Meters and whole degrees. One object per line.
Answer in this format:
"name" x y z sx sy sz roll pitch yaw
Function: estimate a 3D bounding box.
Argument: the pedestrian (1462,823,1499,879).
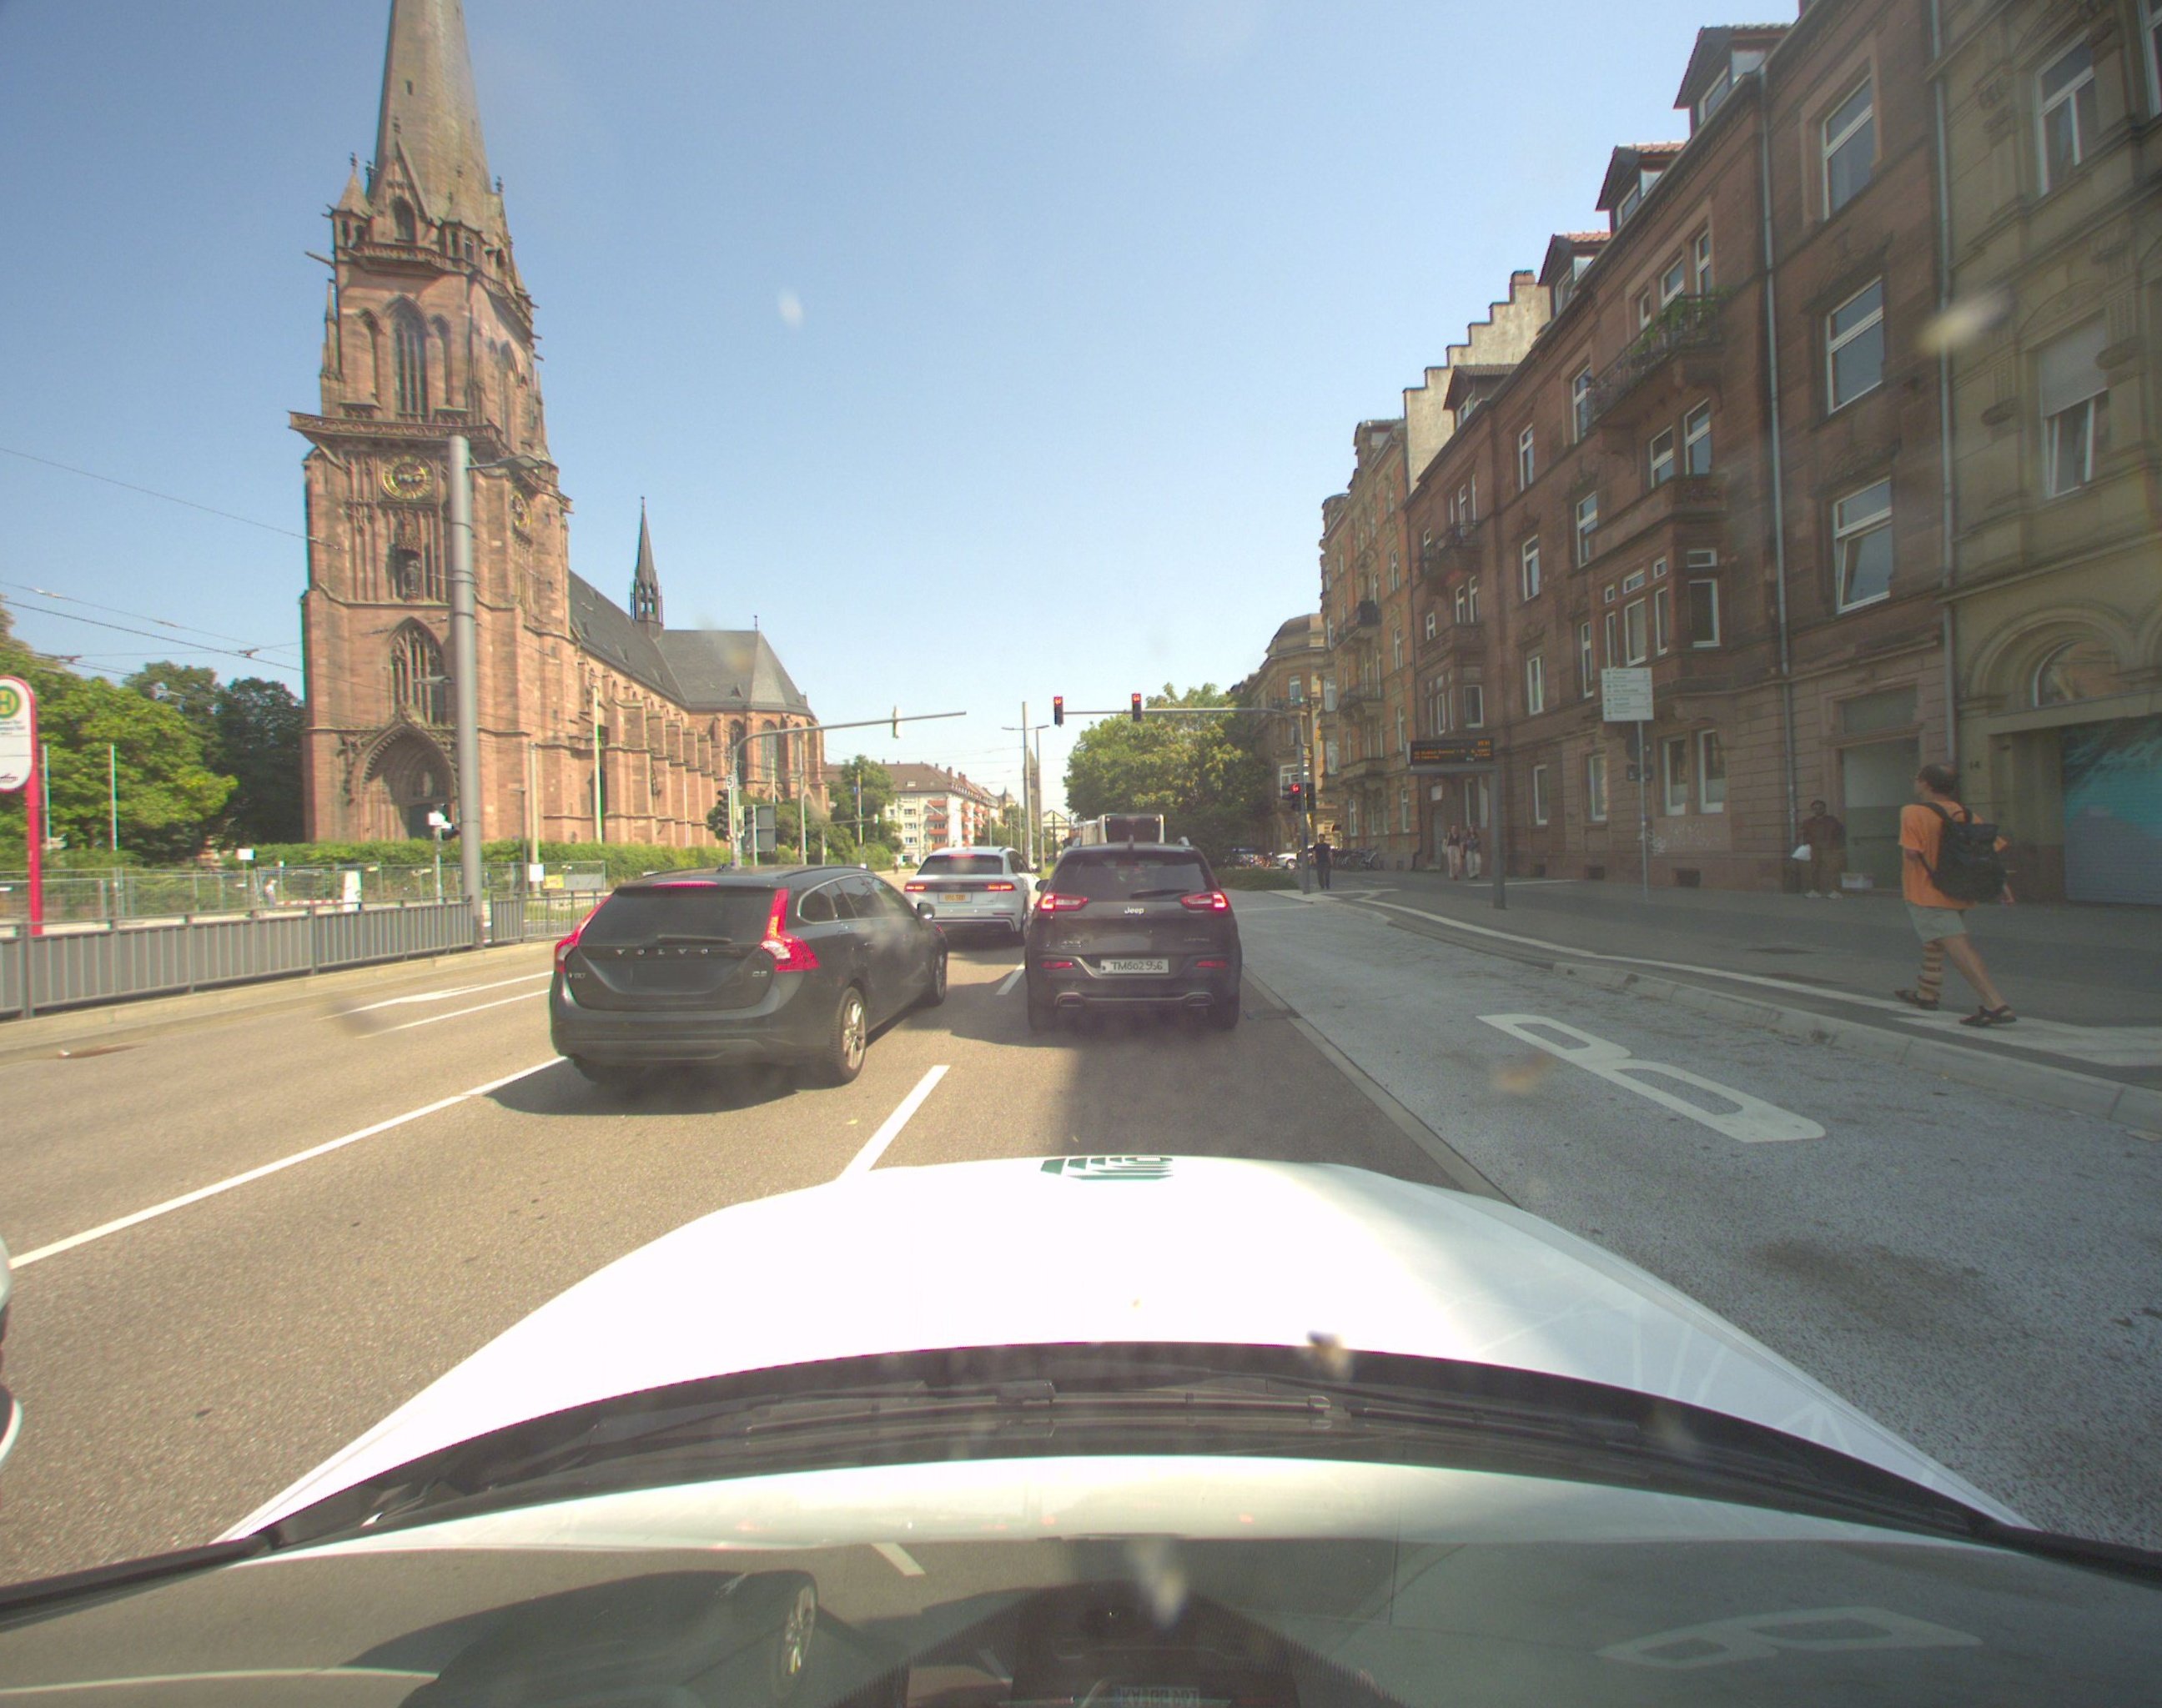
"pedestrian" 12.987 -0.100 26.498 0.712 1.778 0.870 -2 0 0

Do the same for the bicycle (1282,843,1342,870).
"bicycle" 12.731 0.120 44.977 2.993 1.373 0.948 -2 0 1

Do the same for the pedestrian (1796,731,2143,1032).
"pedestrian" 5.731 0.168 5.387 0.958 1.741 1.242 -2 0 8

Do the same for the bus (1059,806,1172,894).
"bus" 1.176 -0.065 36.776 2.742 3.107 11.920 -5 0 -8

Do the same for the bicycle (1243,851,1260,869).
"bicycle" 12.193 0.395 58.313 0.729 1.253 3.017 -2 0 4

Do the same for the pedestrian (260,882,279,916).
"pedestrian" -37.602 2.091 37.732 0.430 1.531 0.548 -3 0 36

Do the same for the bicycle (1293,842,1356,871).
"bicycle" 12.731 0.115 42.648 2.993 1.373 0.948 -2 0 1

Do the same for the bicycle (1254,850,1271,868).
"bicycle" 12.980 0.362 58.309 0.759 1.253 3.017 -2 0 4

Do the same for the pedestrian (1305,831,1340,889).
"pedestrian" 7.601 0.177 25.635 0.892 1.741 0.771 -4 -1 12

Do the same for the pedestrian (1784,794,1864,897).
"pedestrian" 13.270 -0.159 14.554 0.872 1.778 0.737 -2 0 -26

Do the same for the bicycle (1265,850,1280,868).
"bicycle" 13.794 0.329 58.724 0.655 1.249 2.415 -2 0 4

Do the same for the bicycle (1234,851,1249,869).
"bicycle" 11.497 0.421 58.331 0.646 1.253 3.017 -2 0 4

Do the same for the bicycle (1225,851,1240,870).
"bicycle" 10.840 0.451 58.372 0.646 1.253 3.017 -2 0 4

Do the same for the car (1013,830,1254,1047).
"car" 0.515 0.647 8.413 1.825 1.651 4.312 -1 0 3

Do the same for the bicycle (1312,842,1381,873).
"bicycle" 12.608 0.163 38.749 2.983 1.371 0.871 -2 0 1

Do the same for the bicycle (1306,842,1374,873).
"bicycle" 12.599 0.181 39.662 2.983 1.371 0.871 -2 0 1

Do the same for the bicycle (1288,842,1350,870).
"bicycle" 12.725 0.111 43.659 2.993 1.373 0.948 -2 0 1

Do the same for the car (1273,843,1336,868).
"car" 15.687 0.104 57.262 3.926 1.521 1.679 -2 0 -6

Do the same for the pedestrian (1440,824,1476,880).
"pedestrian" 12.257 -0.073 26.482 0.711 1.776 0.848 -2 0 1

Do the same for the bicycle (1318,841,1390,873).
"bicycle" 12.670 0.134 37.841 2.983 1.371 0.871 -2 0 1

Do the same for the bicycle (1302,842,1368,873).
"bicycle" 12.654 0.176 40.609 2.983 1.371 0.871 -2 0 1

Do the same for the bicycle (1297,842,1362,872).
"bicycle" 12.684 0.137 41.553 2.993 1.373 0.948 -2 0 1

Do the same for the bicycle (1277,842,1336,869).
"bicycle" 12.724 0.105 46.020 2.993 1.373 0.948 -2 0 1

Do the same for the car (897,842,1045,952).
"car" -1.790 0.654 14.681 1.895 1.651 4.310 -1 0 2

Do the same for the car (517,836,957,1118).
"car" -2.328 0.711 6.878 1.741 1.614 4.310 -1 0 2
